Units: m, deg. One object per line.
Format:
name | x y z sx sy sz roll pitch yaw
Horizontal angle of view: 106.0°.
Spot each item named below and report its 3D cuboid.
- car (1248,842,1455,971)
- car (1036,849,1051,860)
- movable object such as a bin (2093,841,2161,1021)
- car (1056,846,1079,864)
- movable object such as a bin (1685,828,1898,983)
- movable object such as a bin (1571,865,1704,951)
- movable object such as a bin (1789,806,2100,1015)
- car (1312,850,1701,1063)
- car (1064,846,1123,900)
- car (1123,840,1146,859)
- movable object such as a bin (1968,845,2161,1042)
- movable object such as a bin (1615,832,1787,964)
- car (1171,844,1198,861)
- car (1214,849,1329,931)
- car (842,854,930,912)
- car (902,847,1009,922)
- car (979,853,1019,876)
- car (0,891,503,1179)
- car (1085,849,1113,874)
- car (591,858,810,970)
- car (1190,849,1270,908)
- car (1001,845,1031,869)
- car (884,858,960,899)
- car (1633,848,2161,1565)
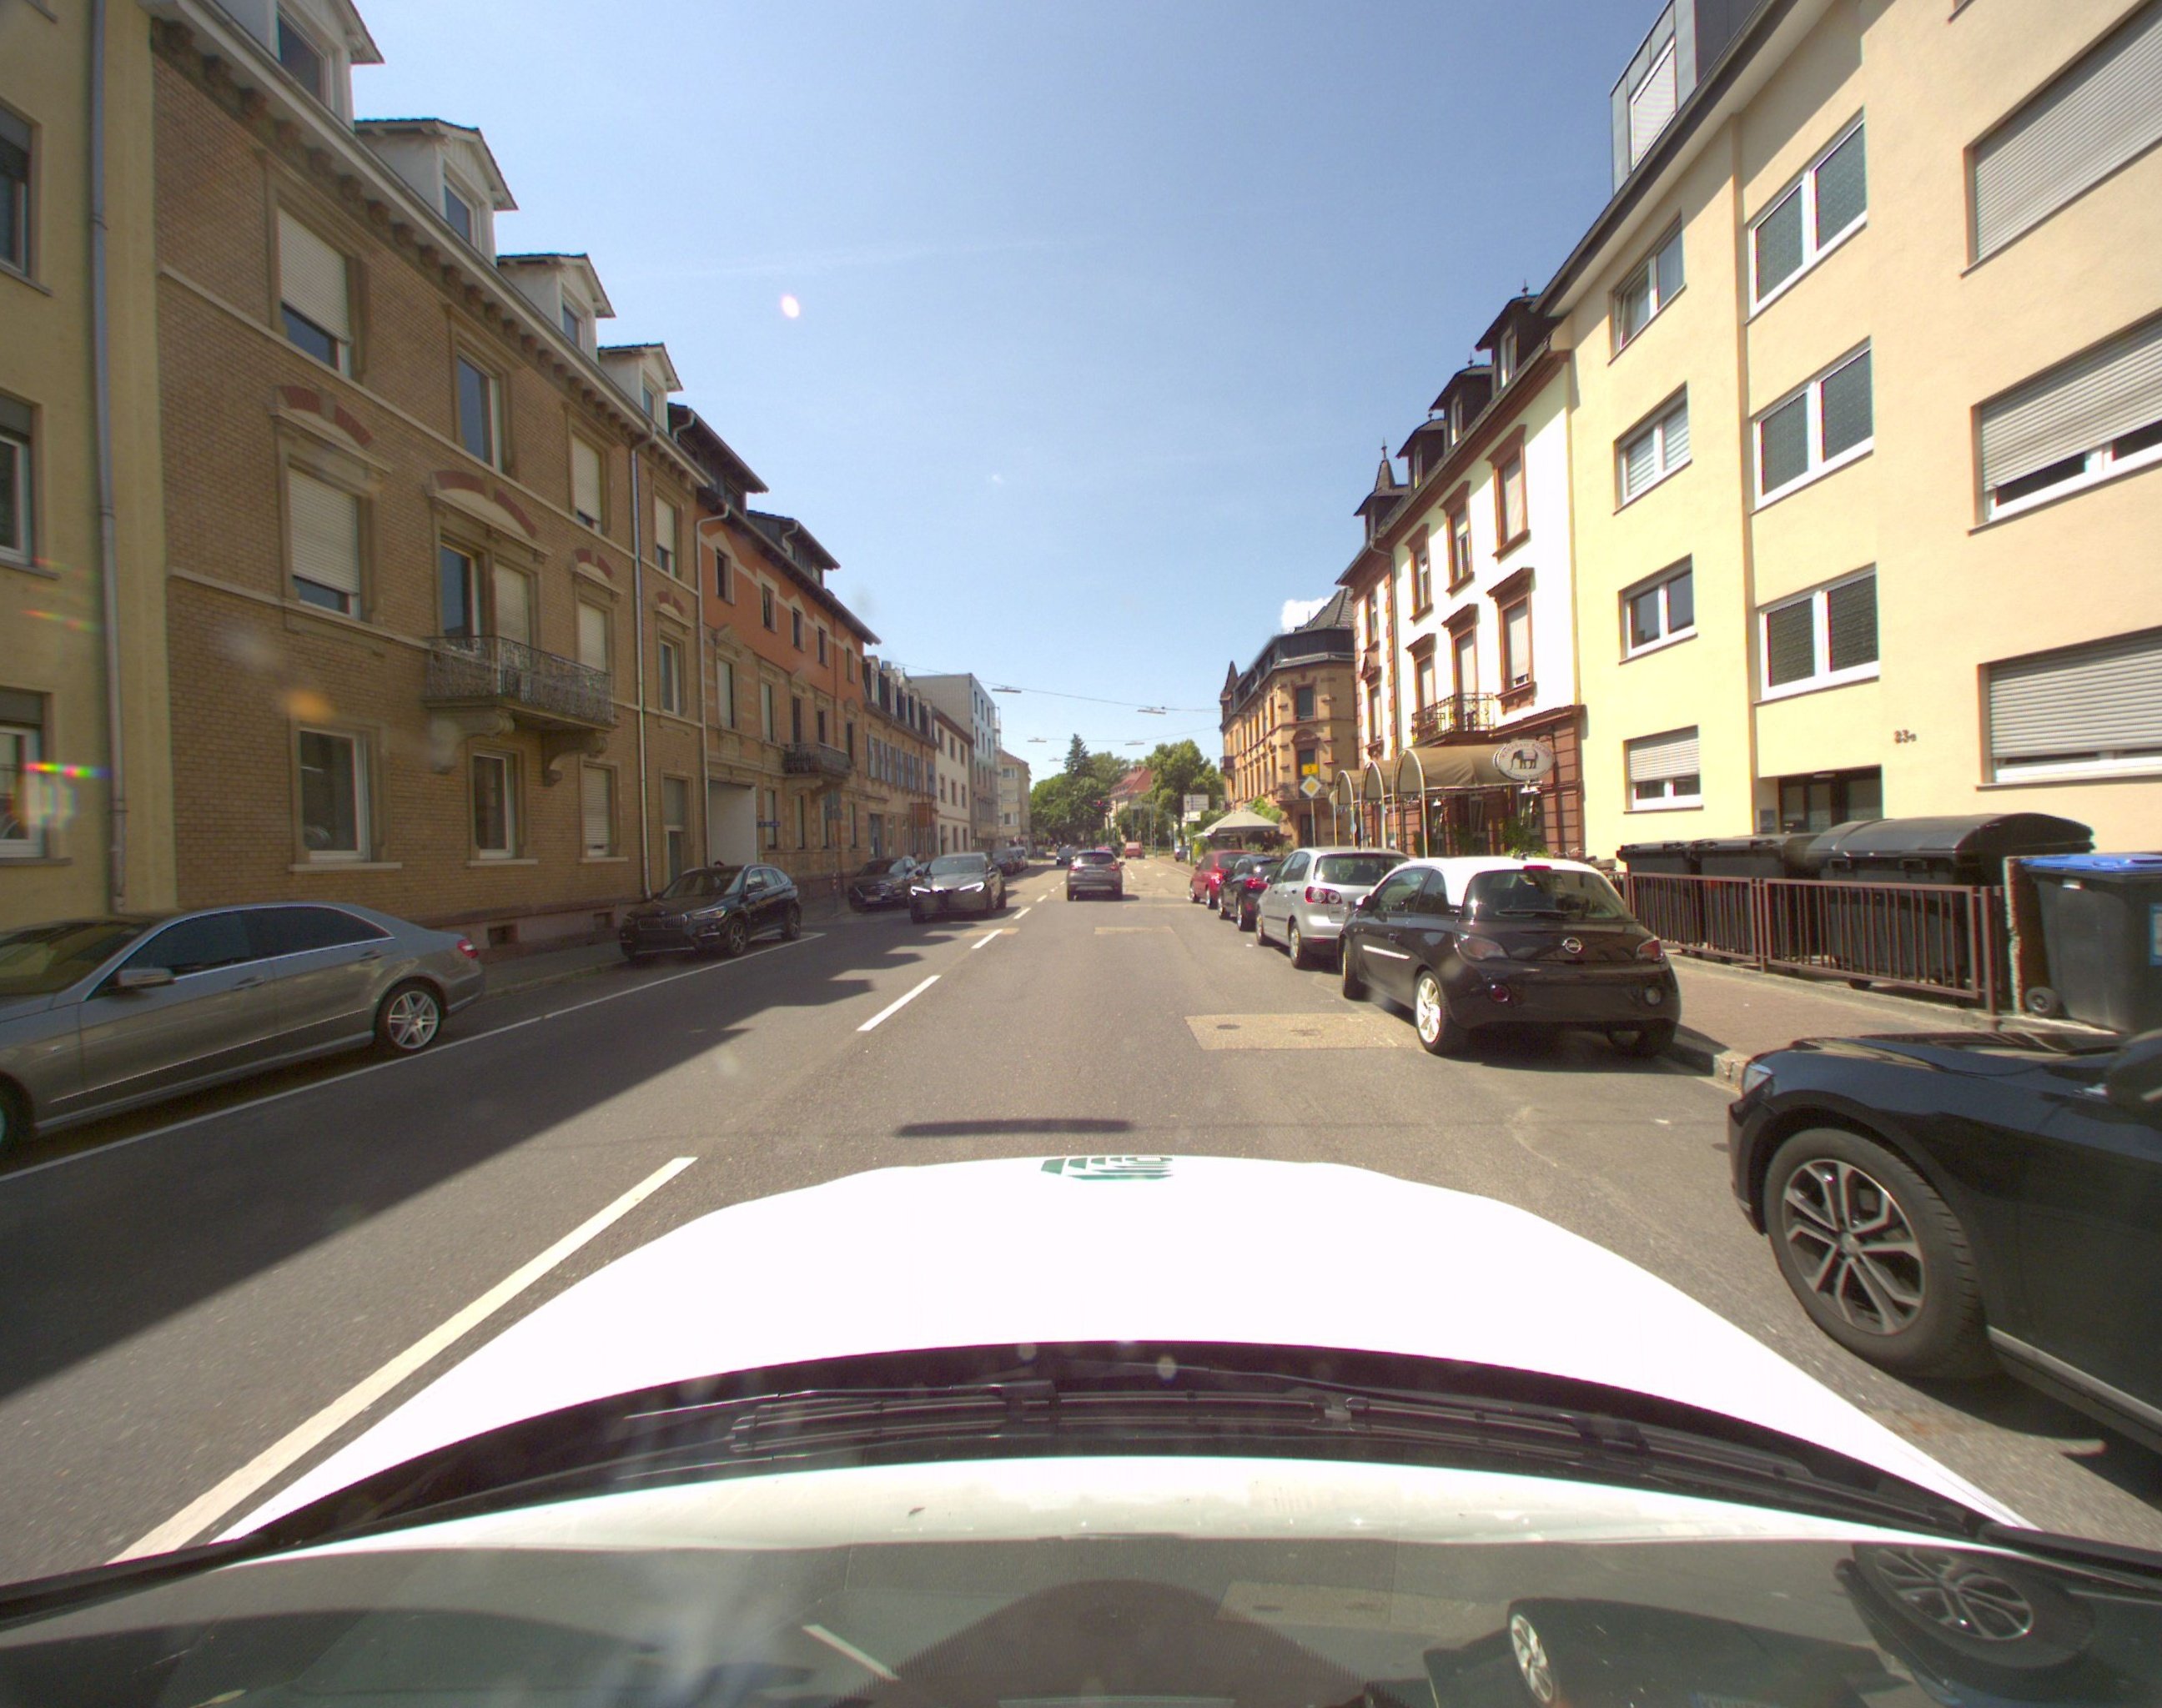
car | 3.687 0.627 11.862 1.853 1.553 4.003 0 0 2
car | -5.876 0.104 127.826 1.783 1.626 3.747 -2 0 3
movable object such as a bin | 7.414 0.505 5.289 0.635 1.186 0.853 -1 0 4
car | -1.178 0.069 74.076 1.783 1.626 3.747 -2 0 3
movable object such as a bin | 6.917 0.464 8.028 1.038 1.402 1.255 -1 0 4
movable object such as a bin | 7.078 0.661 10.417 1.038 1.023 0.992 -1 0 3
movable object such as a bin | 6.910 0.410 6.655 1.038 1.518 1.448 -1 0 4
car | 3.463 0.690 7.545 1.653 1.441 4.003 0 0 2
car | 0.428 0.560 26.633 1.737 1.616 4.001 -1 0 1
car | 6.118 -0.563 92.778 1.981 2.013 4.479 -3 0 10
movable object such as a bin | 6.608 0.533 5.330 0.635 1.177 0.912 -1 0 4
movable object such as a bin | 6.998 0.468 9.284 1.038 1.402 1.255 -1 0 4
car | 9.769 -0.161 76.454 1.884 1.508 3.959 -3 0 15
car | 3.733 0.648 16.494 1.605 1.461 3.507 -1 0 2
car | -6.283 0.892 26.713 1.900 1.619 4.298 -4 0 -3
car | -3.087 0.703 20.933 1.932 1.626 4.001 -3 0 1
car | -5.235 0.652 52.591 1.897 1.291 4.305 -2 0 3
car | -6.885 1.144 5.842 1.898 1.401 4.756 -4 0 1
car | 1.292 0.541 59.674 1.807 1.620 4.440 -3 0 0
car | -6.765 0.964 15.109 1.898 1.619 4.303 -4 0 1
car | 3.976 0.610 22.201 1.606 1.443 3.437 -1 0 1
car | -5.289 0.210 66.790 1.897 1.821 4.305 -2 0 3
car | -6.169 0.915 32.093 1.897 1.357 4.305 -4 0 2
car | 3.123 0.723 0.991 1.854 1.465 4.619 0 0 1
